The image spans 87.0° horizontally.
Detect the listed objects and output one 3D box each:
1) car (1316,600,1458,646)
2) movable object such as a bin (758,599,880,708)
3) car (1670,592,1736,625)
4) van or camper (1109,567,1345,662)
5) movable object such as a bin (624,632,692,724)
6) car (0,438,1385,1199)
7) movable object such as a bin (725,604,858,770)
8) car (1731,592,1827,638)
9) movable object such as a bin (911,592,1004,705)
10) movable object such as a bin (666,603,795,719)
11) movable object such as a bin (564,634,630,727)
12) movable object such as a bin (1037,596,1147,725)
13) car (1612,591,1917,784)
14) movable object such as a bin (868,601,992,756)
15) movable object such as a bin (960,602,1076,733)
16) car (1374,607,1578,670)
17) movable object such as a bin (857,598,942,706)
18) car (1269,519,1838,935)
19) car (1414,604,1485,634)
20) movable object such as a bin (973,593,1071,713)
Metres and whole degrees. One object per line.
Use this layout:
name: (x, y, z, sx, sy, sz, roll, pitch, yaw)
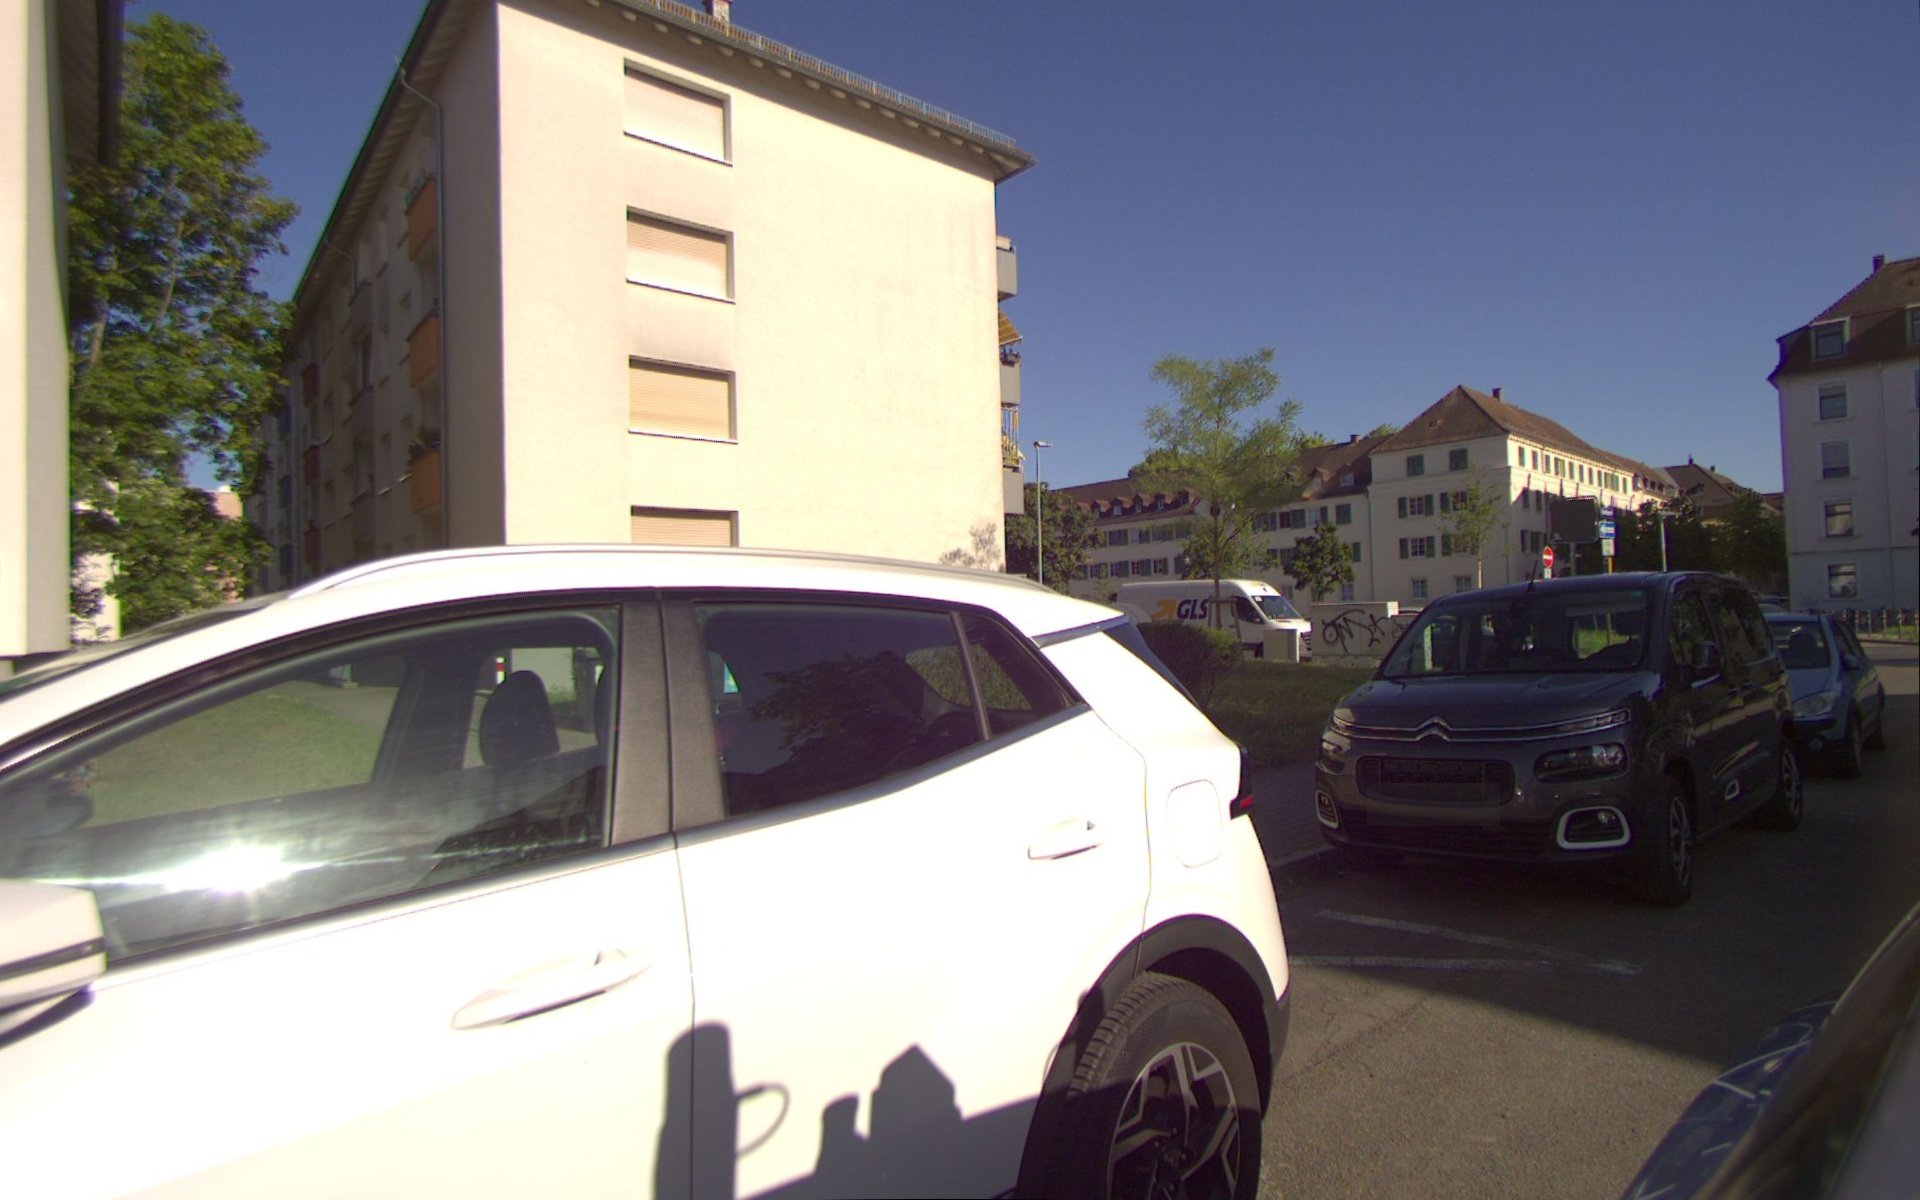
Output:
car: (13.729, 0.730, 32.688, 1.494, 1.367, 3.996, 0, -1, -38)
movable object such as a bin: (-2.031, 0.736, 14.591, 1.257, 1.466, 1.237, 0, -1, -43)
car: (33.037, 0.360, 45.092, 1.656, 1.394, 3.767, -1, 0, 26)
van or camper: (7.795, 0.427, 30.461, 2.137, 2.532, 6.979, 0, -1, -38)
movable object such as a bin: (-3.828, 0.971, 12.828, 0.570, 1.066, 0.717, 0, 1, -43)
car: (-1.240, 0.706, 1.731, 4.503, 1.613, 1.802, -1, -3, -42)
movable object such as a bin: (-1.609, 0.781, 9.659, 0.907, 1.466, 0.864, 0, -1, -45)
car: (27.553, 0.486, 34.175, 1.656, 1.459, 3.767, -1, 0, 26)
movable object such as a bin: (-0.030, 0.634, 13.784, 0.907, 1.466, 0.864, 0, -1, -45)
movable object such as a bin: (-3.122, 0.783, 13.737, 1.257, 1.466, 1.237, 0, -1, -43)
movable object such as a bin: (-4.498, 0.981, 12.535, 0.570, 1.066, 0.627, 0, 1, -43)
movable object such as a bin: (1.541, 0.677, 11.836, 0.852, 1.416, 0.920, 0, -1, -42)
car: (8.189, 0.762, 10.182, 3.885, 1.557, 1.725, -1, -4, -43)
movable object such as a bin: (-0.313, 0.752, 10.270, 0.852, 1.466, 0.920, 0, -1, -42)
movable object such as a bin: (0.631, 0.700, 11.046, 0.852, 1.342, 0.920, 0, -1, -42)
car: (12.349, 0.873, 24.412, 1.769, 1.367, 3.996, 0, 0, -38)
movable object such as a bin: (-0.895, 0.745, 15.003, 0.906, 1.539, 0.865, 0, -1, -42)
car: (4.023, 0.612, 6.555, 4.180, 1.824, 1.852, -1, -5, -42)
car: (33.944, 1.308, 70.218, 1.966, 2.039, 3.991, 0, -1, -42)
movable object such as a bin: (0.796, 0.657, 13.030, 0.907, 1.466, 0.864, 0, -1, -45)
